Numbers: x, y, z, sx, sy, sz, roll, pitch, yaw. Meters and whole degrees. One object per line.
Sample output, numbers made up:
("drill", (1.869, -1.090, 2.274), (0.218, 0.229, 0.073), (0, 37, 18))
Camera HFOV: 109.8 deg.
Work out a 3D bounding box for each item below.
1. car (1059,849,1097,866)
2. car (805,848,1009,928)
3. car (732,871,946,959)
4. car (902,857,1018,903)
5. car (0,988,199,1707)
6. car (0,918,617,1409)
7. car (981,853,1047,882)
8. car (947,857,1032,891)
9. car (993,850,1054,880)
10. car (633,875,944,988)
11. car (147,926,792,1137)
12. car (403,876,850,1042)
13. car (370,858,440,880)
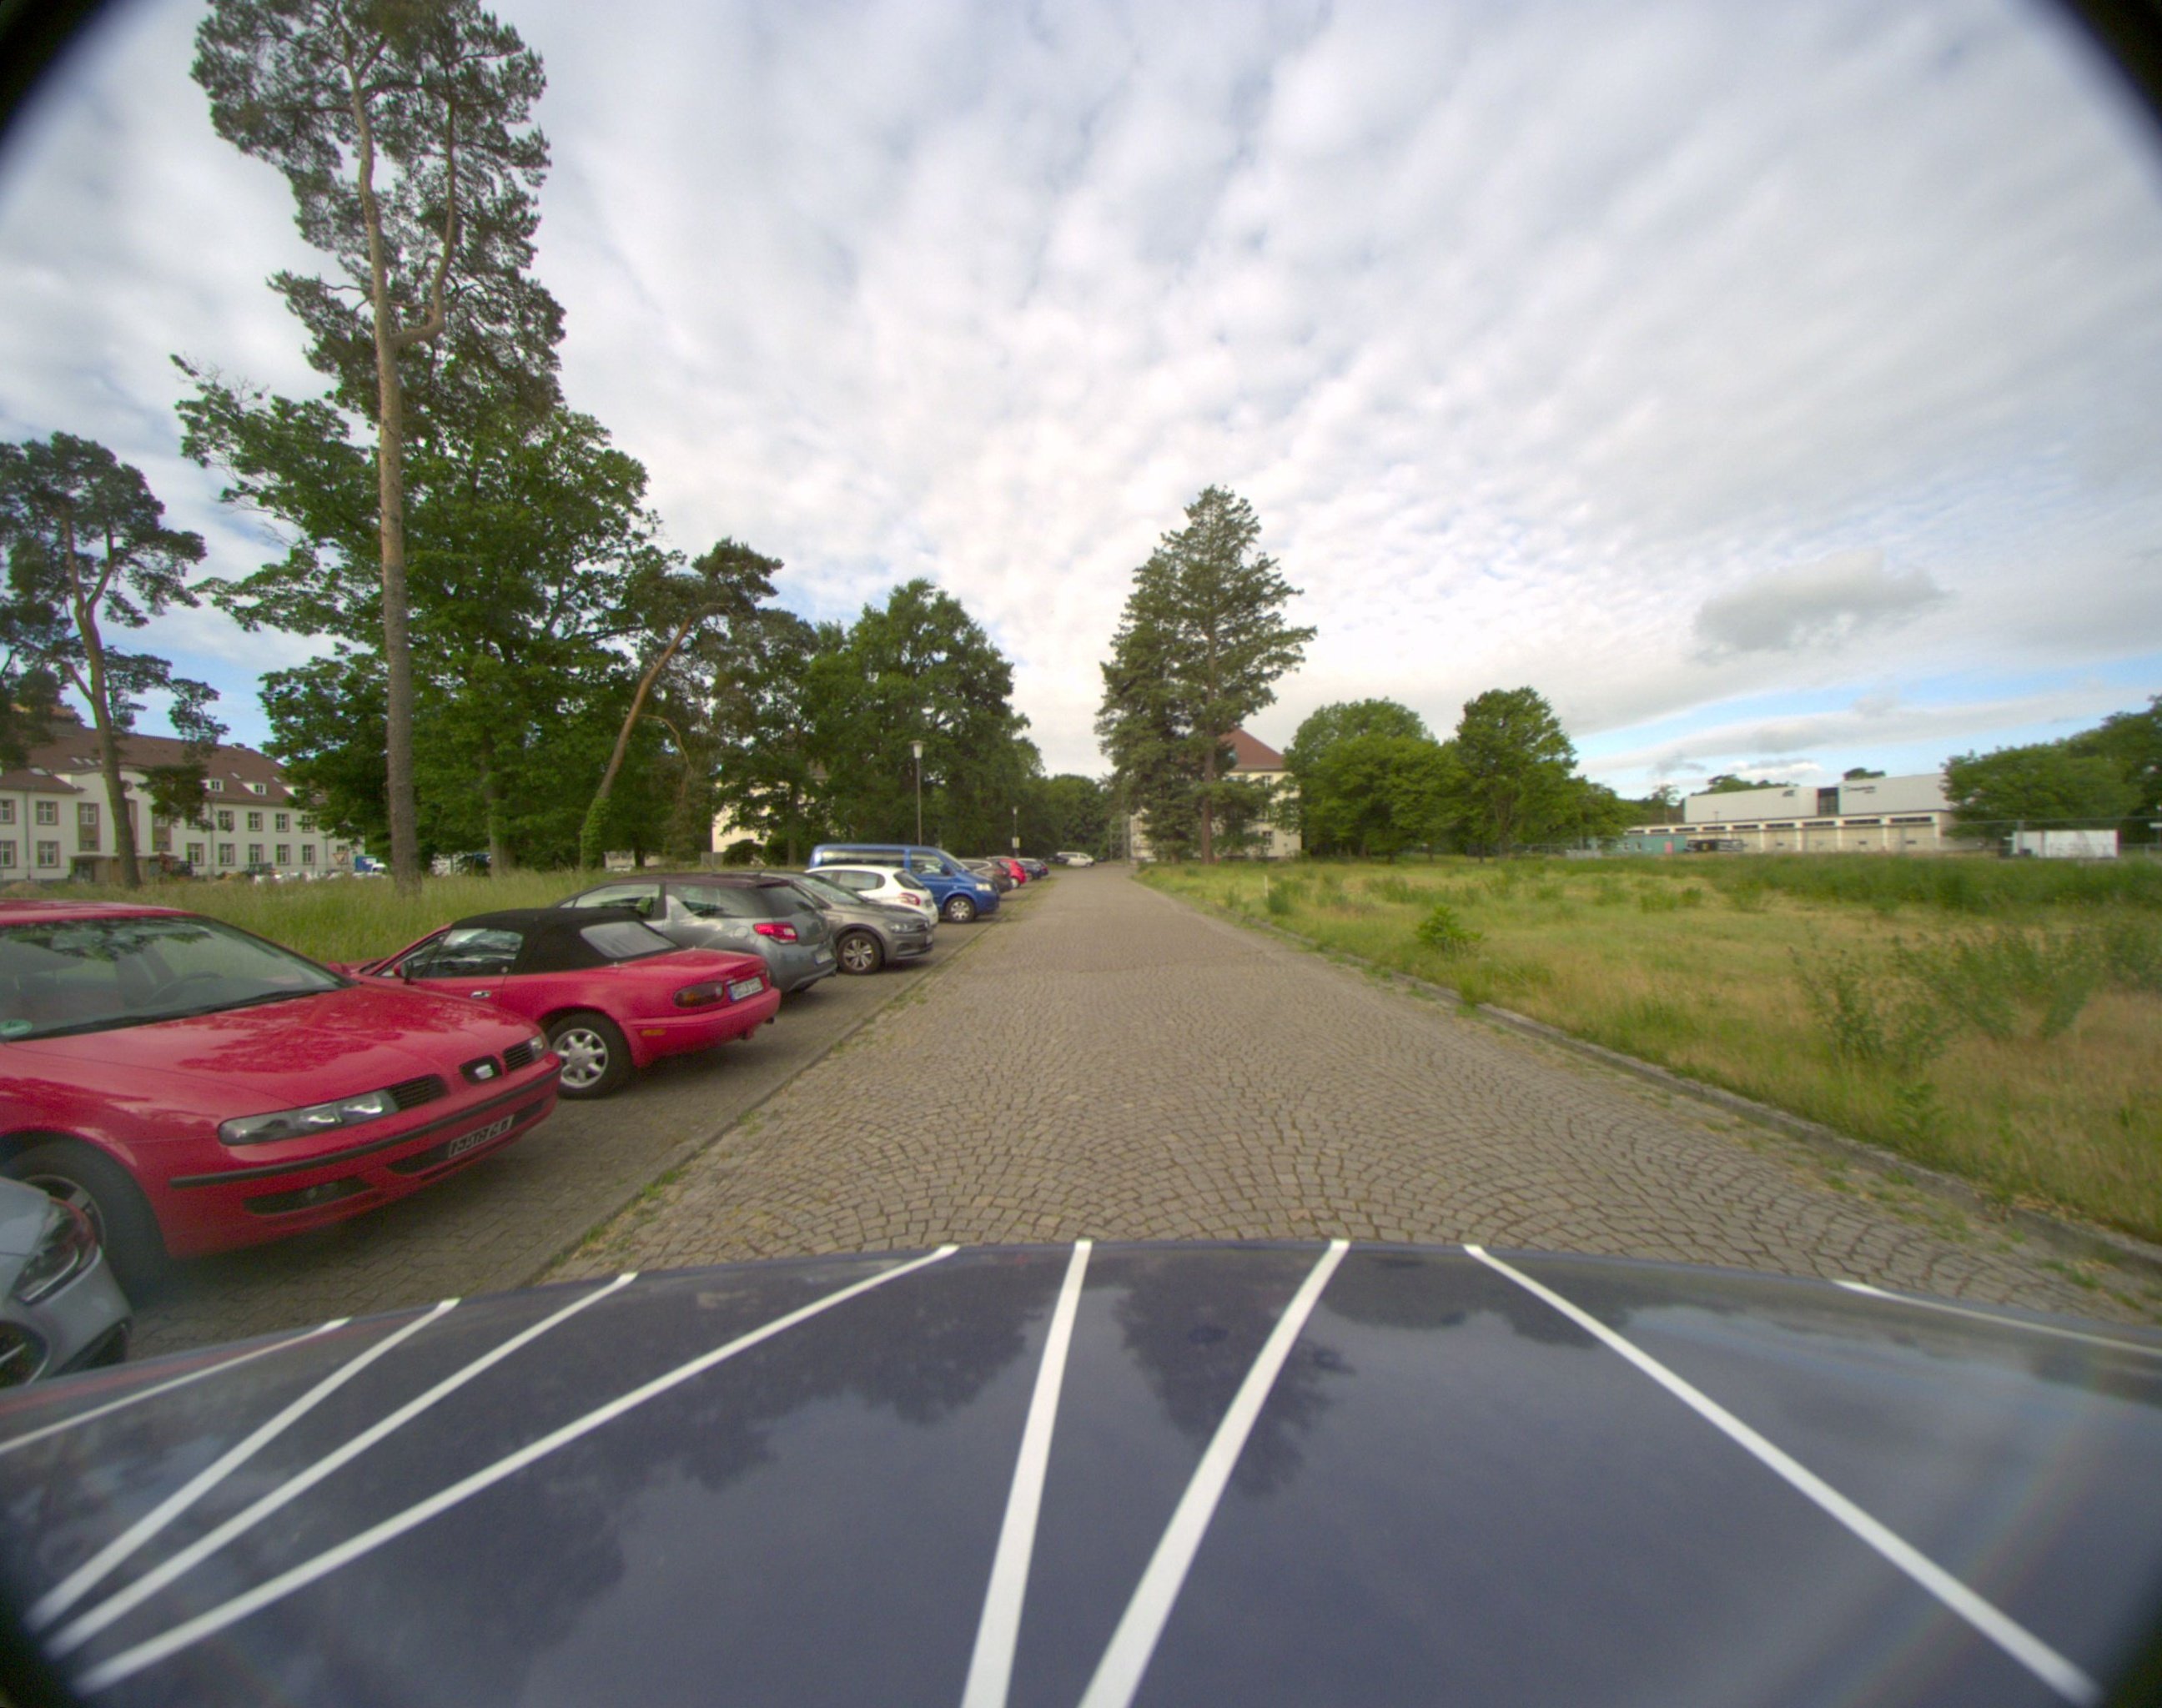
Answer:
("car", (-0.371, 0.408, 102.260), (5.030, 2.164, 2.000), (-1, 0, 2))
("car", (-4.322, 0.825, 19.492), (4.749, 1.928, 2.000), (0, 0, 0))
("car", (-4.372, 1.081, 14.070), (3.408, 1.443, 1.637), (-1, 0, 1))
("car", (-4.448, 0.951, 28.435), (3.997, 1.601, 2.000), (-1, 0, 1))
("car", (-4.694, 1.119, 1.073), (4.769, 1.474, 1.812), (-1, 0, 0))
("car", (-4.622, 1.109, 3.384), (3.972, 1.444, 1.800), (-1, 0, 0))
("car", (-4.285, 0.846, 49.014), (4.007, 1.752, 2.000), (-1, 0, 2))
("car", (-4.596, 0.998, 38.767), (3.997, 1.521, 2.000), (-2, 0, 1))
("car", (-4.009, 0.743, 53.409), (3.996, 2.002, 2.000), (-1, 0, 2))
("car", (-4.163, 1.088, 11.244), (3.848, 1.448, 1.820), (-1, 0, 3))
("car", (-4.249, 1.223, 5.655), (3.600, 1.200, 1.495), (-1, 0, 1))
("car", (-4.716, 1.052, 8.358), (3.787, 1.497, 1.799), (-1, 0, -2))
("car", (-67.798, 1.474, 76.361), (2.153, 2.002, 5.225), (-1, 0, 3))
